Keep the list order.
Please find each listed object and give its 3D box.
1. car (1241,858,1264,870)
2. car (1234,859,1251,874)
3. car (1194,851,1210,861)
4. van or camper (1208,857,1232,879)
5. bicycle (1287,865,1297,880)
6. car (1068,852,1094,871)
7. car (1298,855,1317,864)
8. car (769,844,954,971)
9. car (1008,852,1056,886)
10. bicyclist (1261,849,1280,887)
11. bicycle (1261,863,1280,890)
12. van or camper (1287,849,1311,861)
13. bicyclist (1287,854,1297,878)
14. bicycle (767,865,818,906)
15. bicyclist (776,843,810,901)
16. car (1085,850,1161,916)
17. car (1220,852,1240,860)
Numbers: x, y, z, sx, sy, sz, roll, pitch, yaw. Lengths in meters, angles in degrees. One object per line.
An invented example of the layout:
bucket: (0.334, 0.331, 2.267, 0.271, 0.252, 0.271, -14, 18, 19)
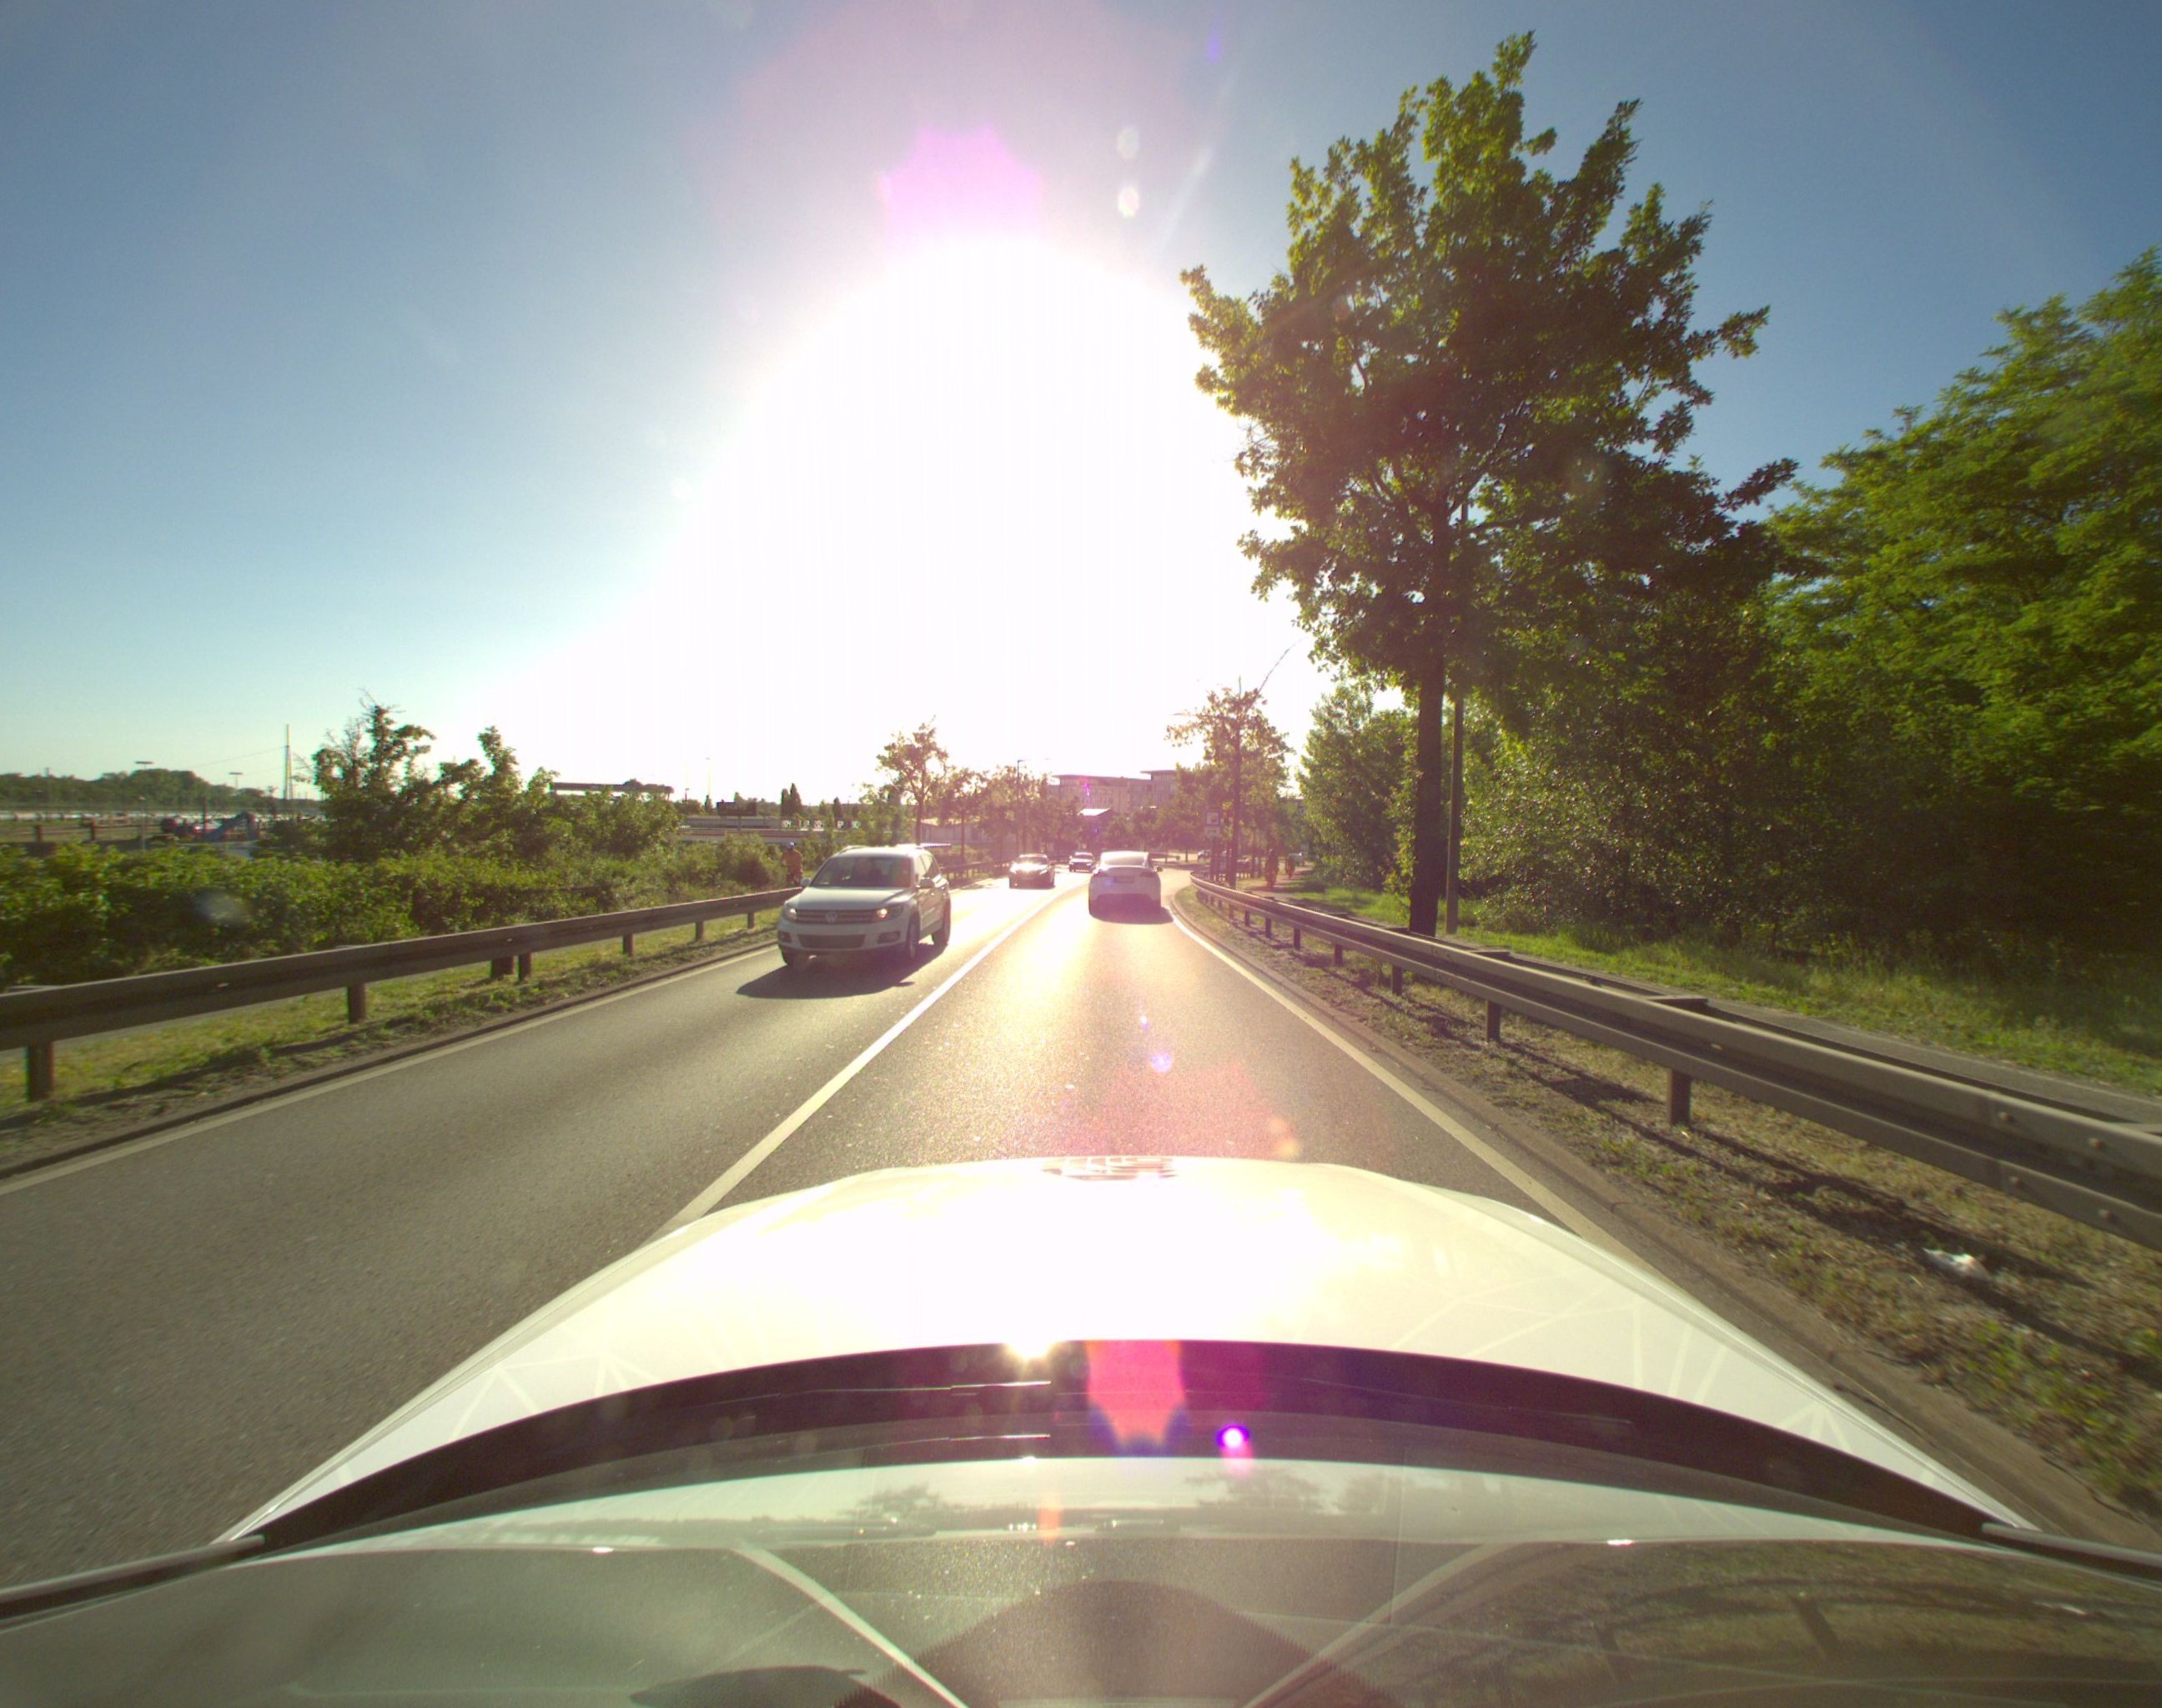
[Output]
car: (23.871, 1.355, 112.974, 1.747, 1.475, 4.316, 3, 2, 31)
car: (18.302, 1.367, 92.296, 1.593, 1.434, 3.693, 3, 3, 14)
car: (21.102, 0.355, 141.953, 1.747, 1.489, 4.300, 3, 0, 23)
van or camper: (12.219, 1.186, 71.763, 1.947, 1.884, 4.891, 0, 0, 8)
bicycle: (16.237, 1.397, 62.703, 0.690, 1.095, 2.125, 0, 0, 13)
car: (0.051, 0.571, 64.428, 1.801, 1.496, 4.373, 0, 0, 4)
car: (43.129, 1.093, 155.070, 1.692, 1.522, 3.765, 3, 3, 44)
car: (-3.180, 0.689, 12.628, 1.723, 1.658, 3.982, 0, 0, 1)
car: (-2.169, 0.640, 37.058, 1.684, 1.441, 4.219, 0, 0, 3)
bicyclist: (7.895, 0.596, 33.910, 0.702, 1.578, 1.008, 0, -2, 15)
bicycle: (7.889, 0.937, 33.875, 0.695, 1.074, 1.929, 0, -2, 16)
van or camper: (35.864, 0.122, 133.870, 1.809, 1.790, 4.572, 4, 3, 42)
bicyclist: (16.245, 0.915, 62.742, 0.670, 1.776, 0.951, 0, 0, 13)
bicycle: (-8.232, 0.875, 23.301, 0.658, 1.095, 2.109, 0, 0, 1)
bicyclist: (-8.231, 0.514, 23.330, 0.649, 1.623, 0.874, 0, 0, 1)
car: (1.260, 0.706, 22.541, 1.905, 1.641, 4.417, 0, 0, 5)
car: (29.026, 0.367, 158.787, 1.714, 1.385, 4.523, 3, 1, 41)
